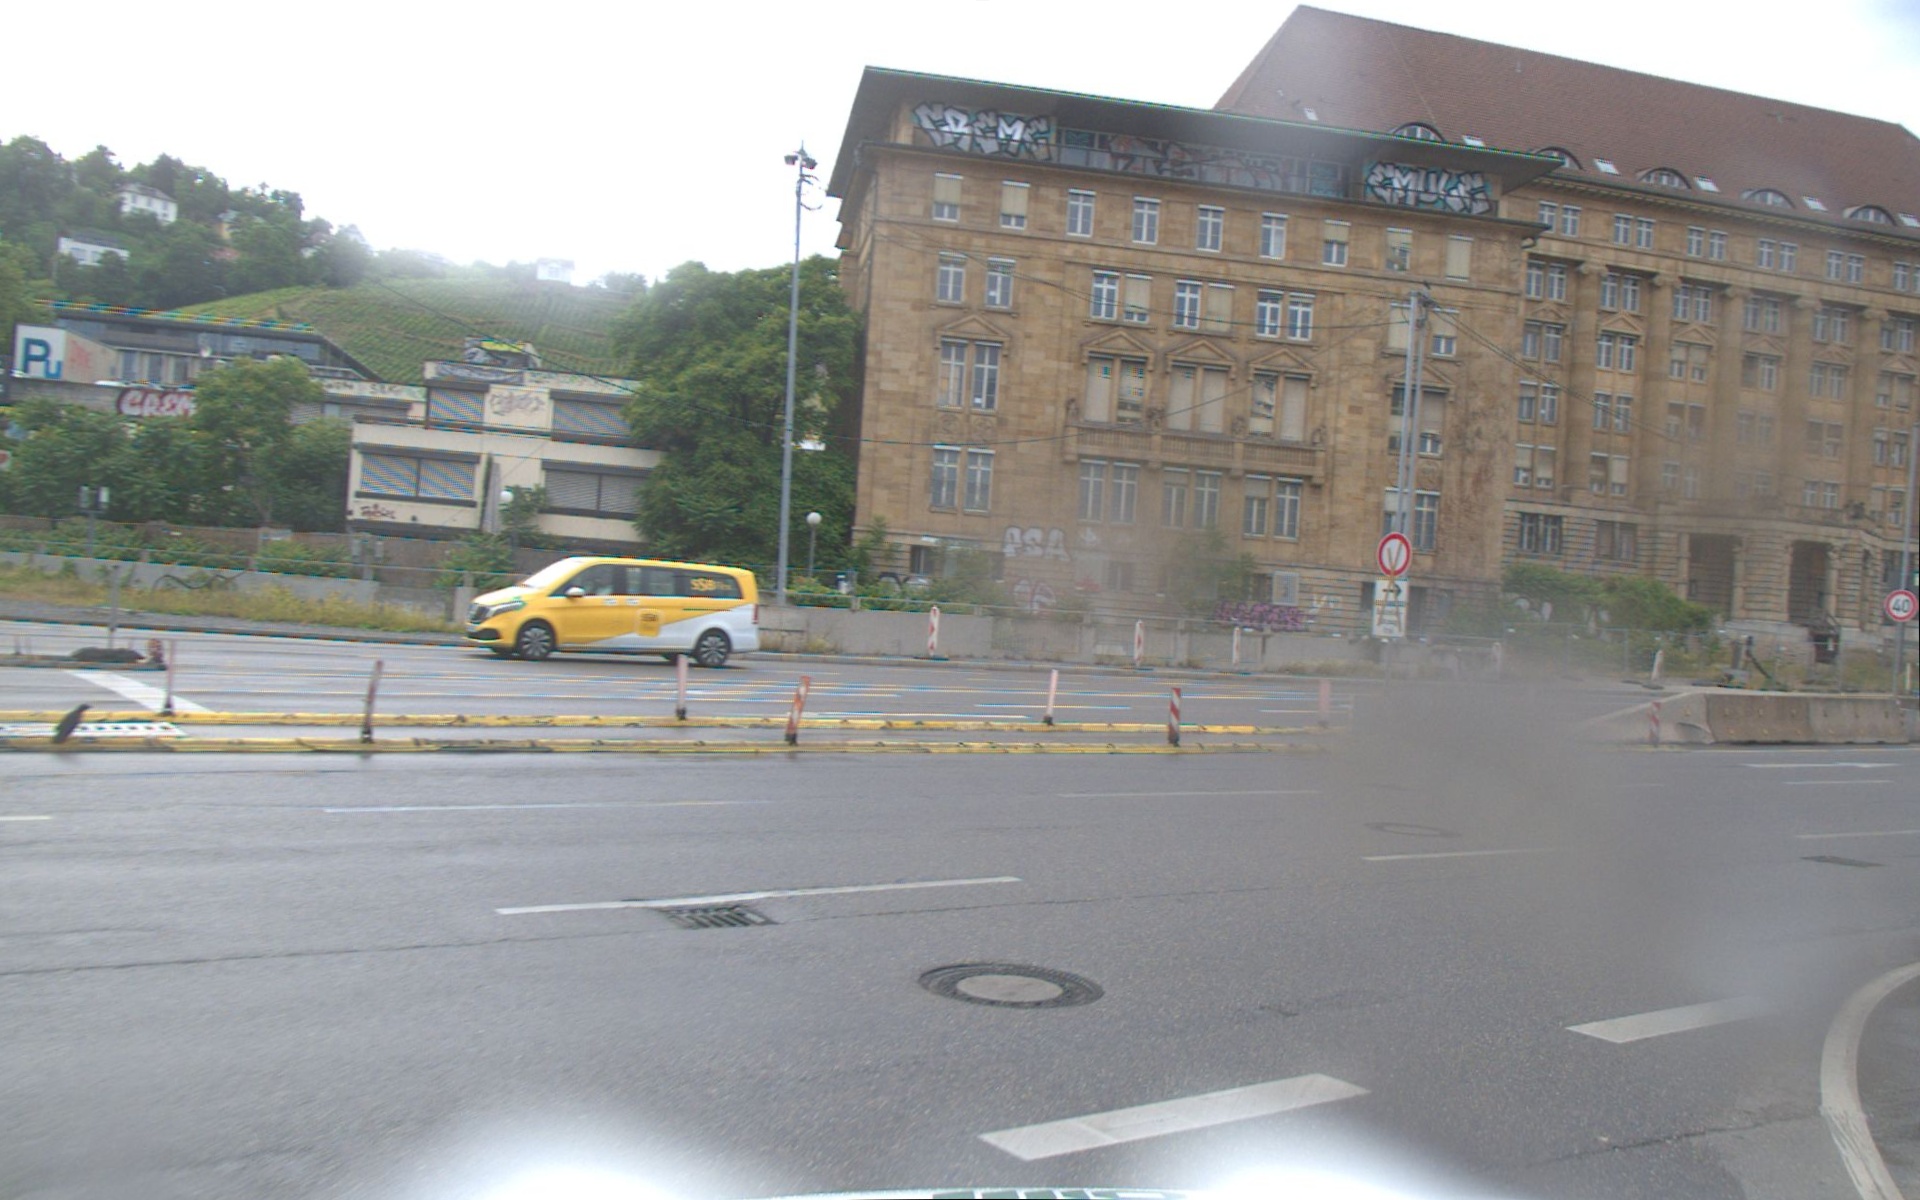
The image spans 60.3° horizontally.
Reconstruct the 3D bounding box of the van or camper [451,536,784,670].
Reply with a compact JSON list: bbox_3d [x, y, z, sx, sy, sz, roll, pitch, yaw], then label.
[{"bbox_3d":[-6.281,0.080,30.670,5.541,2.090,2.220,4,0,-35],"label":"van or camper"}]
